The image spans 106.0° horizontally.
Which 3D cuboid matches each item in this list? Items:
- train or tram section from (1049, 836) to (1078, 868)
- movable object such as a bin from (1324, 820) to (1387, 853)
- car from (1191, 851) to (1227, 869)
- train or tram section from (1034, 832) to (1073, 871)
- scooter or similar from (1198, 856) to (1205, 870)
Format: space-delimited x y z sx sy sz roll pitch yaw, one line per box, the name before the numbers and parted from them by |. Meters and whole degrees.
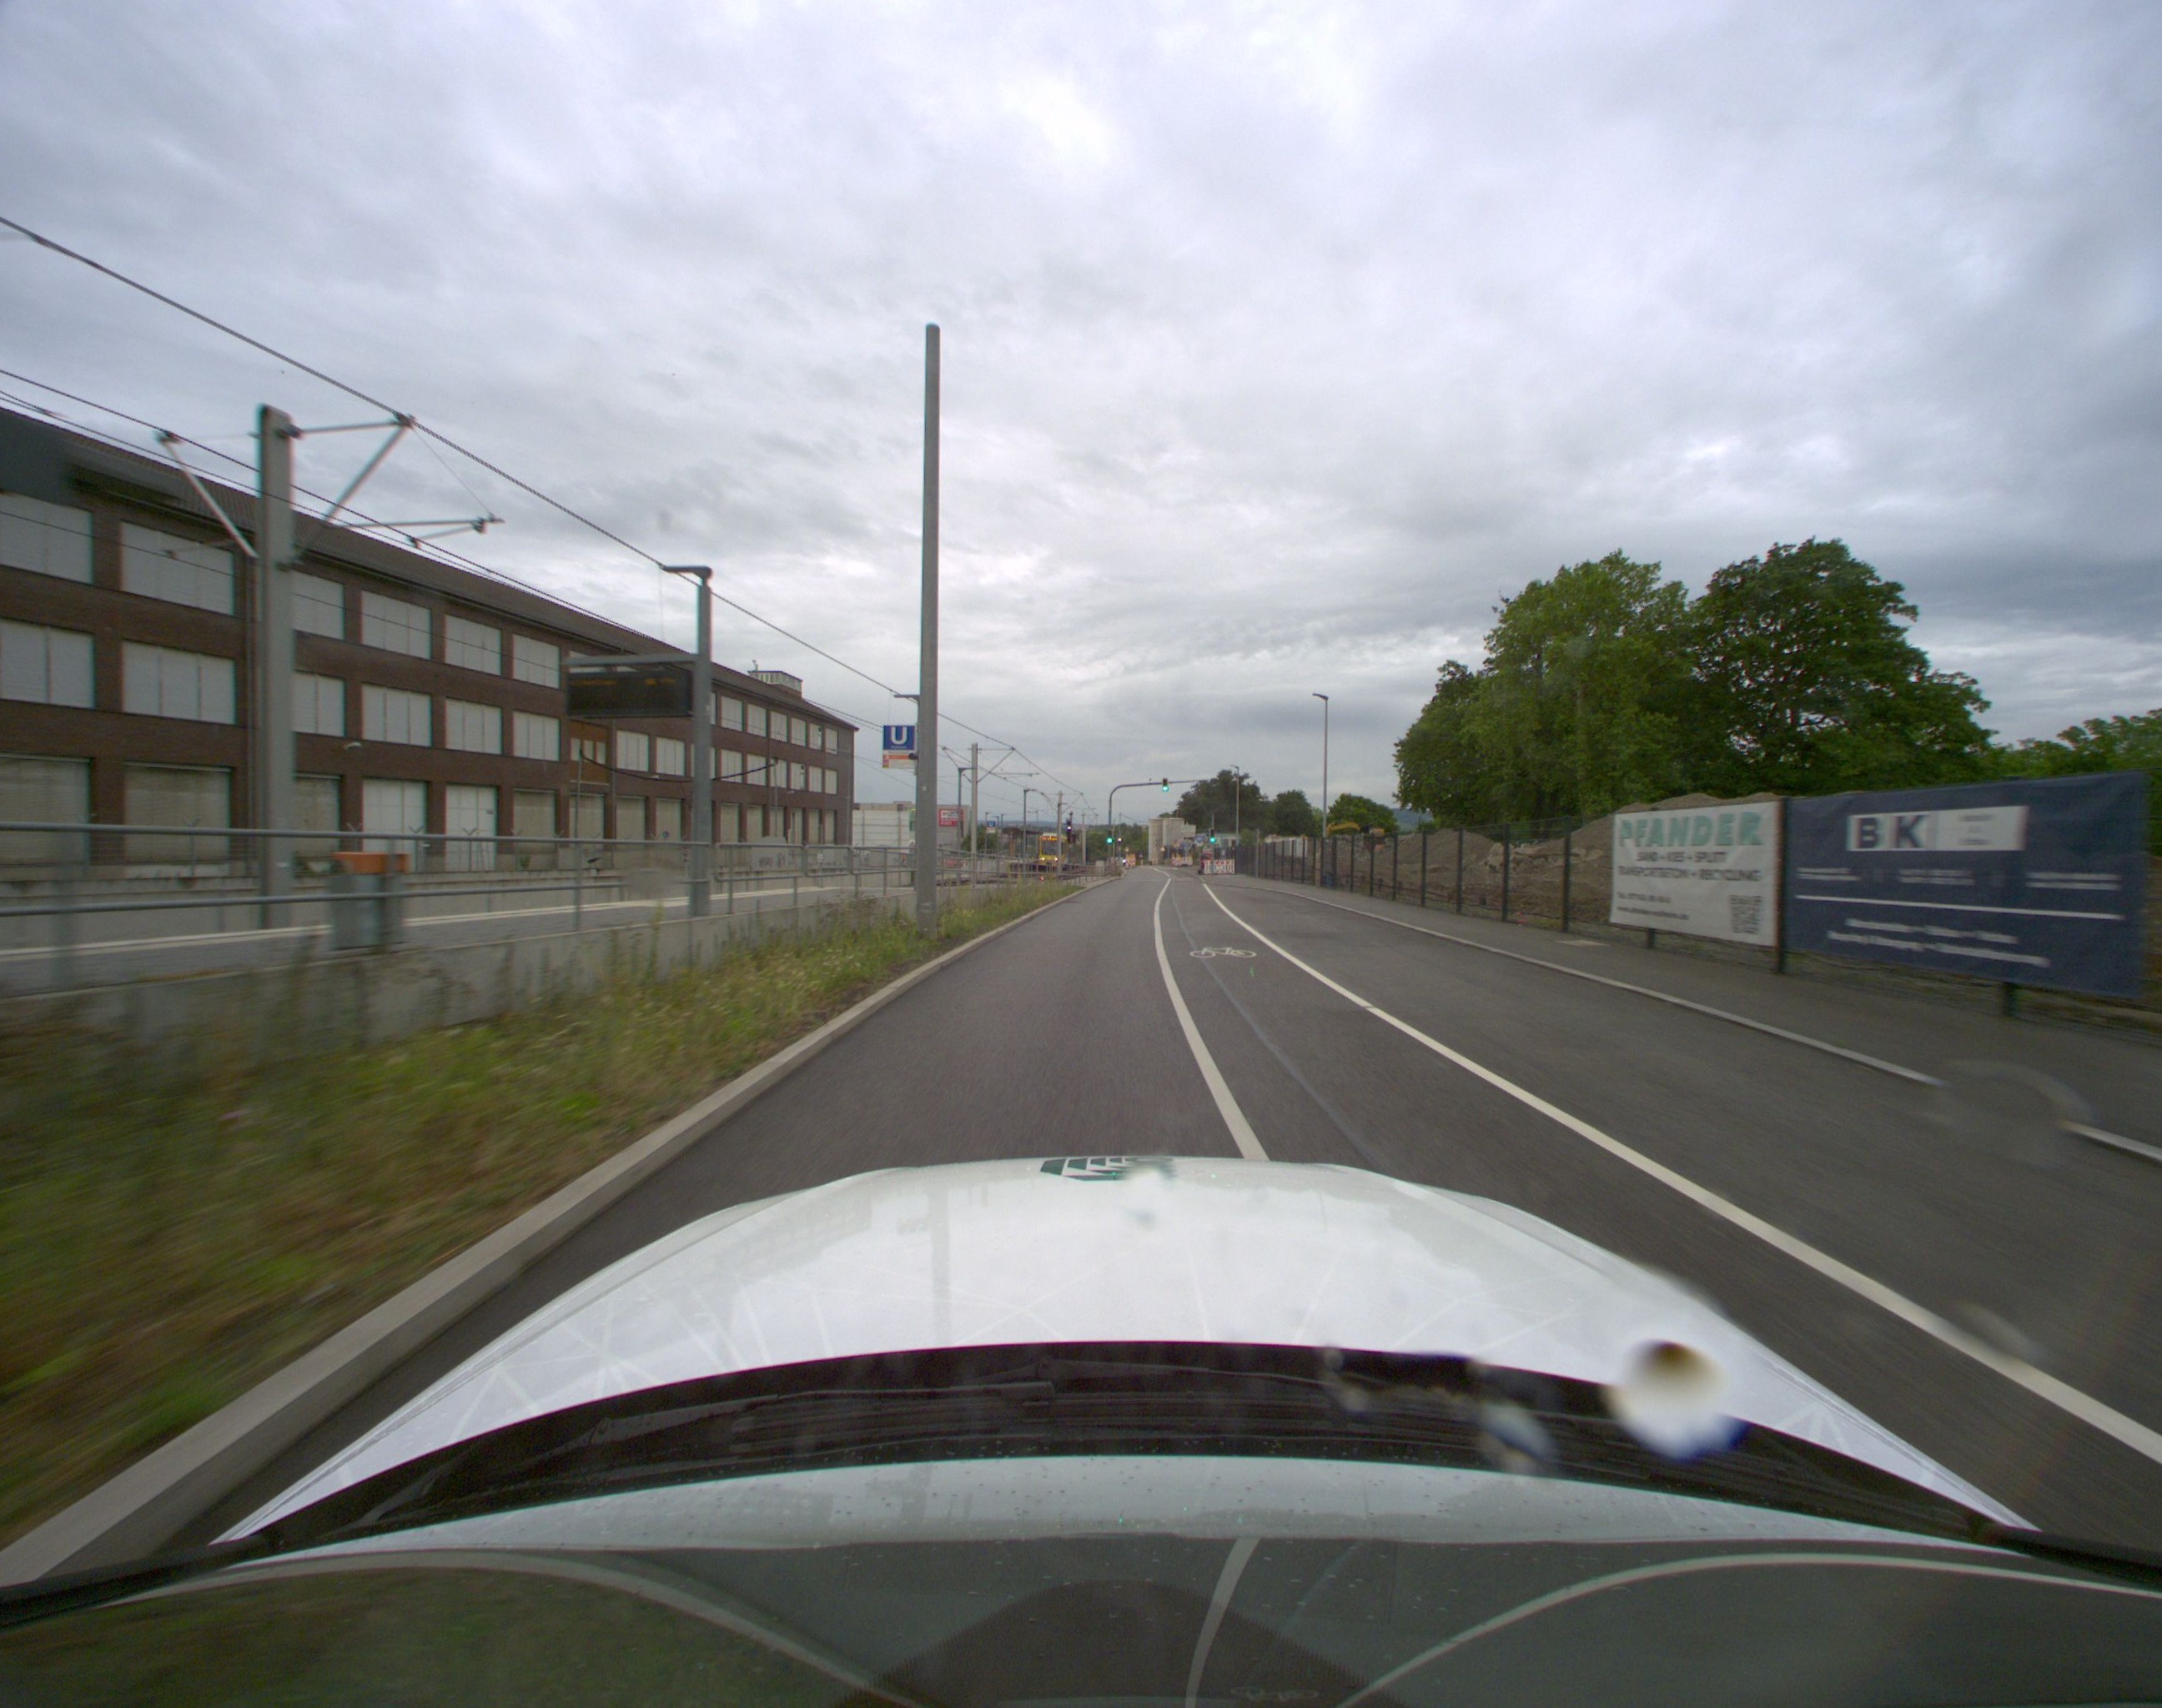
train or tram section | -2.193 -0.211 110.140 2.944 3.886 19.295 1 0 1
movable object such as a bin | 52.606 -3.372 156.446 11.159 5.996 3.501 -1 -1 11
car | 12.877 0.569 81.797 1.802 1.794 4.437 0 0 34
train or tram section | -2.811 -0.229 90.465 2.944 3.886 19.582 1 0 2
scooter or similar | 11.290 0.840 76.258 0.611 1.351 1.917 0 0 10
